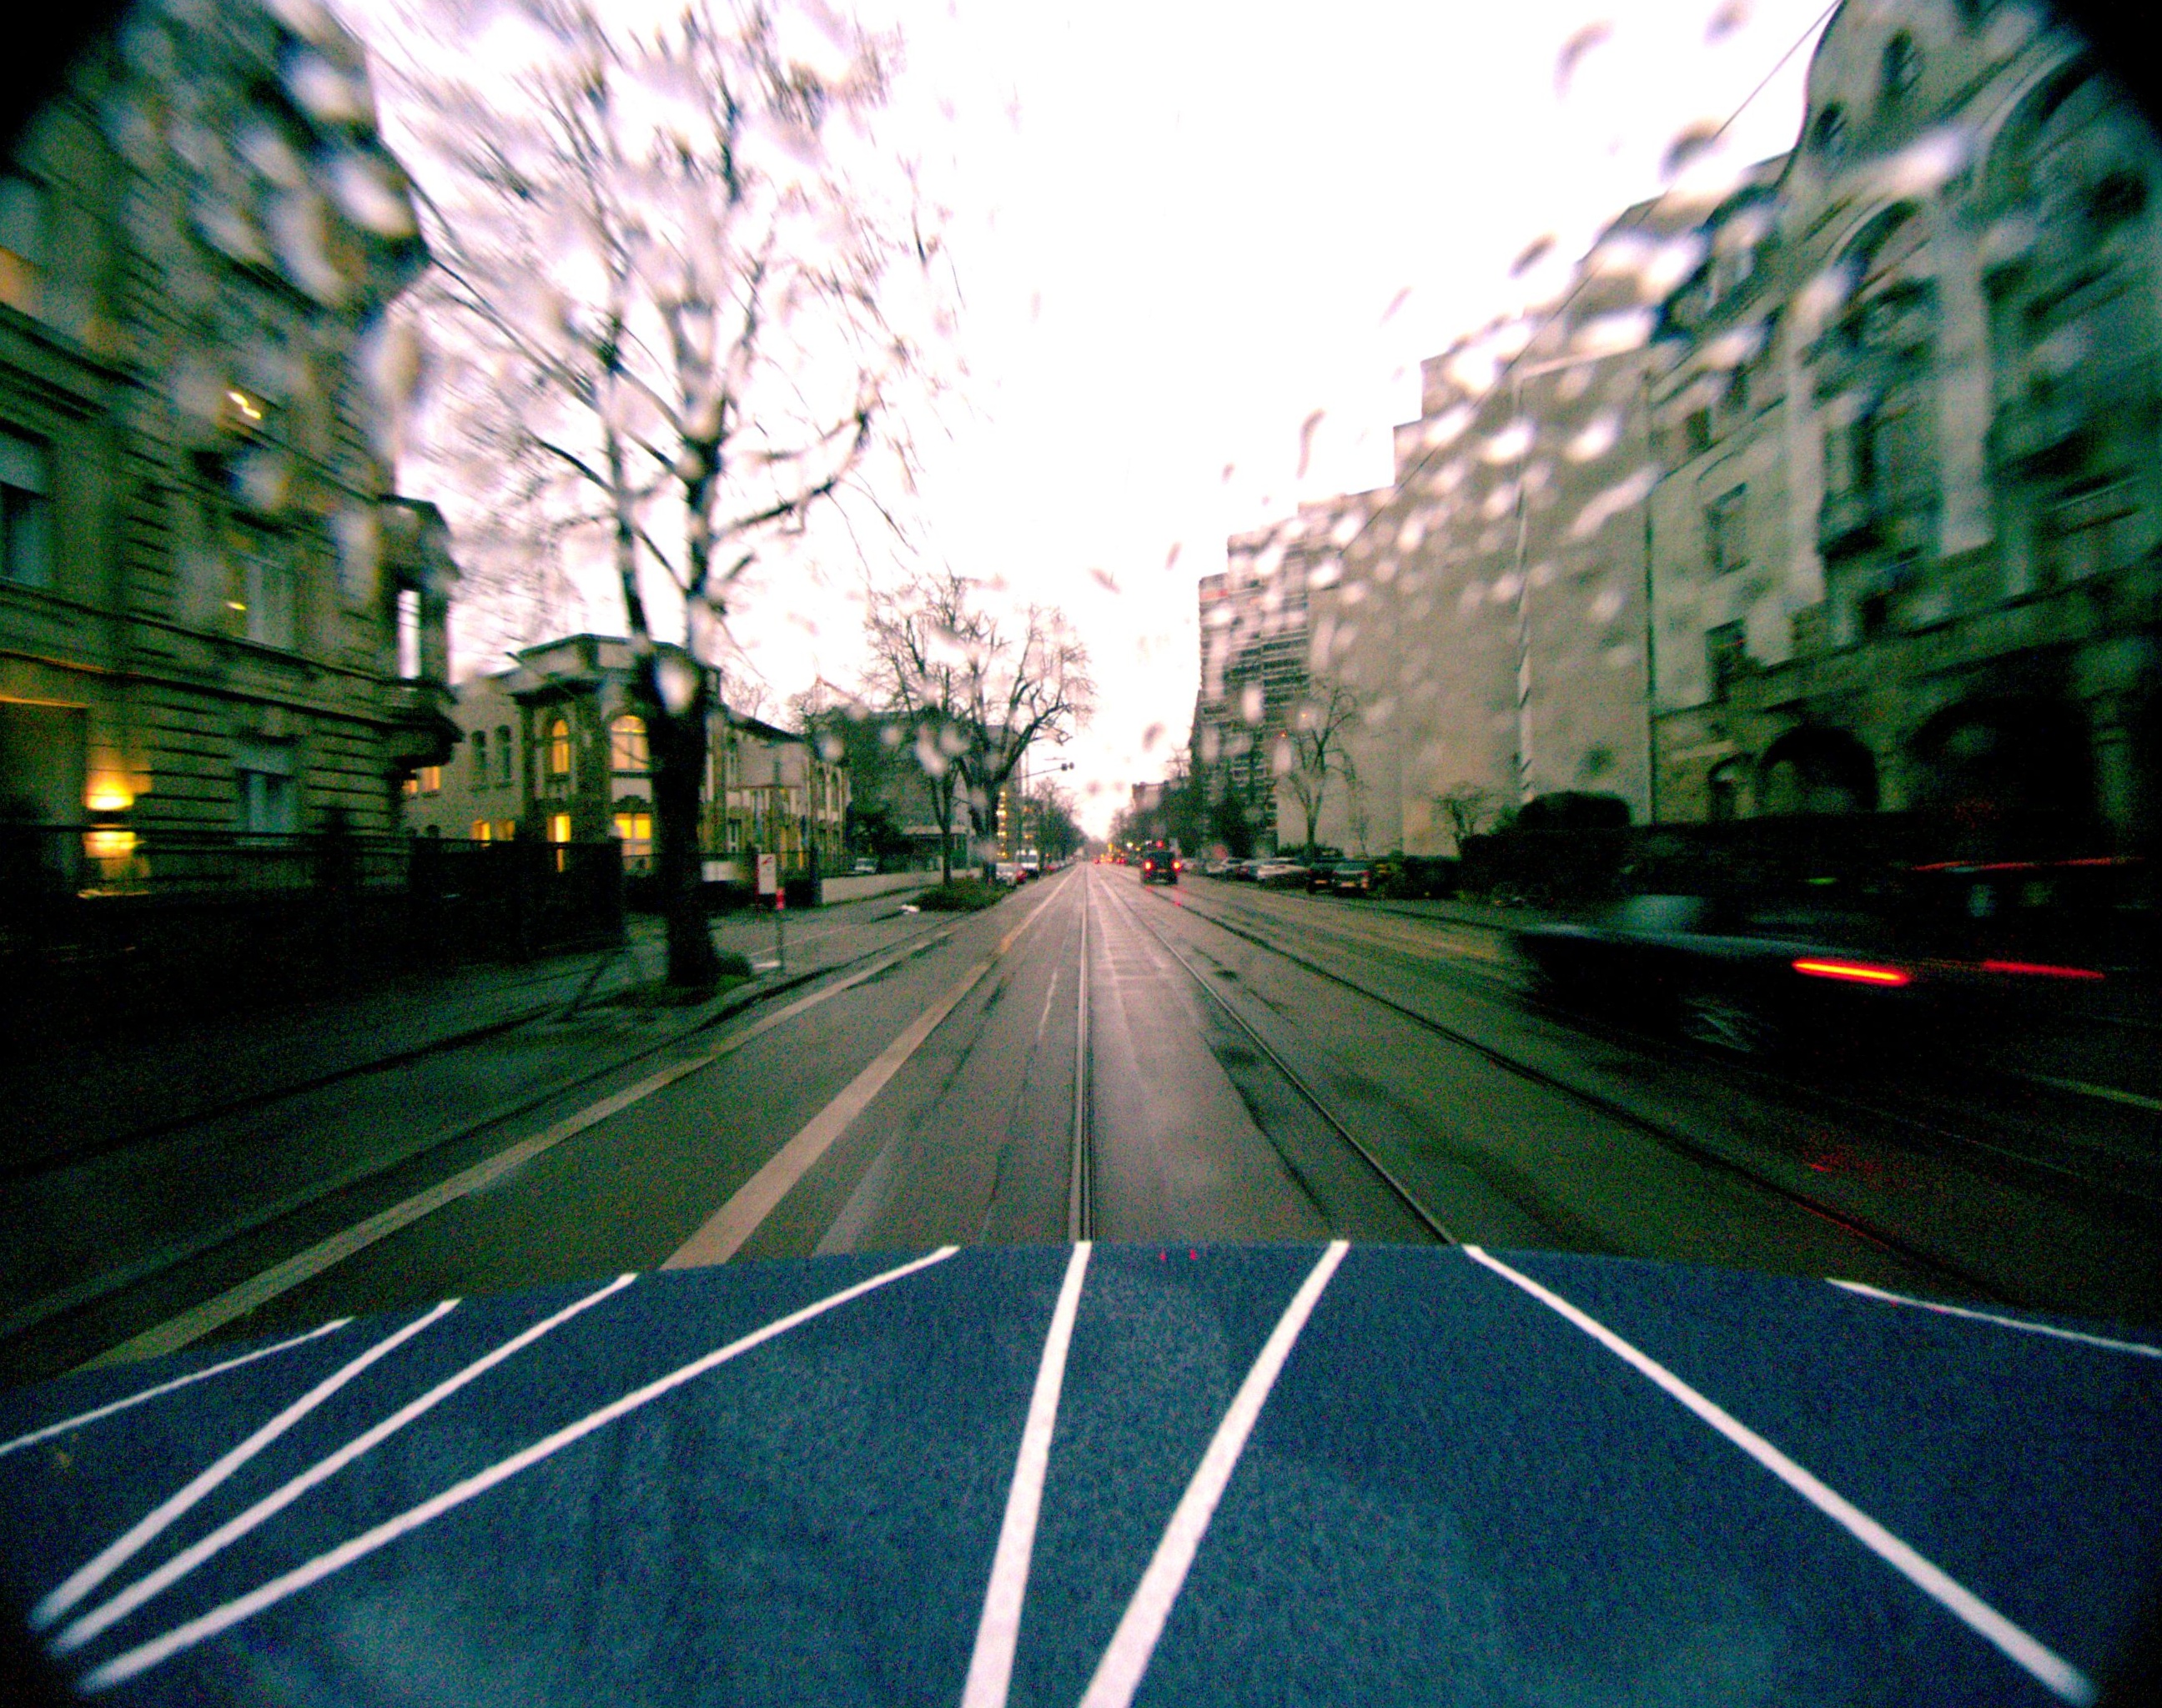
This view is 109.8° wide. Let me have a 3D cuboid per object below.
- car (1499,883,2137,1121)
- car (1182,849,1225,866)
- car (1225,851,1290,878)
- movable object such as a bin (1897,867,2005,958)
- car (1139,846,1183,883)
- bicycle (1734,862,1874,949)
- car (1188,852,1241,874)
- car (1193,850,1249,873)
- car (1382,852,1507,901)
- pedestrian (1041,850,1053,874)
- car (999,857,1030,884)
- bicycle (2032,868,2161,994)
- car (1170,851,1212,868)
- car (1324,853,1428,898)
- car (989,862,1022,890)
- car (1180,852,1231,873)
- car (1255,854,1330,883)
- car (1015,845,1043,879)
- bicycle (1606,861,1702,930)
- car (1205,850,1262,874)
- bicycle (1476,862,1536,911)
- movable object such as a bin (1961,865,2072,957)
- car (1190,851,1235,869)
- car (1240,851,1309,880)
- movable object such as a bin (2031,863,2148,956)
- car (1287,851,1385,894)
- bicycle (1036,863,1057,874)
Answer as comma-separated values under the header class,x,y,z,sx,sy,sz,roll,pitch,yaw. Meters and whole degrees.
class,x,y,z,sx,sy,sz,roll,pitch,yaw
car,5.398,0.941,6.343,1.711,1.245,3.665,-1,0,-2
car,12.119,0.333,75.029,4.007,1.586,1.864,-2,0,-36
car,11.364,0.658,48.790,4.007,1.586,1.864,-2,0,-36
movable object such as a bin,11.674,0.772,10.214,0.659,1.157,0.675,-1,0,3
car,4.801,0.585,46.204,2.238,2.002,4.460,-2,1,1
bicycle,11.034,0.744,11.677,0.625,1.205,1.663,-1,0,3
car,10.735,0.722,61.101,4.007,1.586,1.864,-2,0,-36
car,10.699,0.580,58.023,4.007,1.586,1.864,-2,0,-36
car,12.683,0.730,26.470,4.005,1.485,1.865,-2,0,-28
pedestrian,-3.325,0.792,73.895,1.118,2.246,0.952,-2,1,-2
car,-4.669,1.127,53.790,1.999,1.672,3.998,-2,1,-2
bicycle,10.918,0.766,7.655,0.625,1.205,1.663,-1,0,3
car,11.214,0.533,77.223,4.007,1.586,1.864,-2,0,-36
car,11.181,0.779,28.744,4.007,1.477,1.760,-2,0,-36
car,-4.324,1.252,43.963,1.628,1.399,3.998,-2,1,-2
car,10.473,0.712,63.702,4.007,1.586,1.864,-2,0,-36
car,11.736,0.787,42.127,4.007,1.440,1.864,-2,0,-36
car,-4.324,0.615,63.805,2.093,2.622,5.447,-2,1,-2
bicycle,10.866,0.755,14.475,0.625,1.205,1.663,-1,0,3
car,11.121,0.590,55.349,4.007,1.586,1.864,-2,0,-36
bicycle,10.831,0.794,19.415,0.625,1.157,1.663,-2,0,3
movable object such as a bin,12.384,0.736,10.076,0.625,1.157,0.675,-1,0,3
car,12.504,0.541,72.268,4.007,1.586,1.864,-2,0,-36
car,11.751,0.673,46.044,4.007,1.586,1.864,-2,0,-36
movable object such as a bin,13.272,0.711,10.017,0.625,1.157,0.675,-1,0,3
car,10.697,0.743,31.749,4.007,1.586,1.864,-2,0,-36
bicycle,-3.357,1.397,73.986,1.917,0.986,0.858,-2,1,-1
